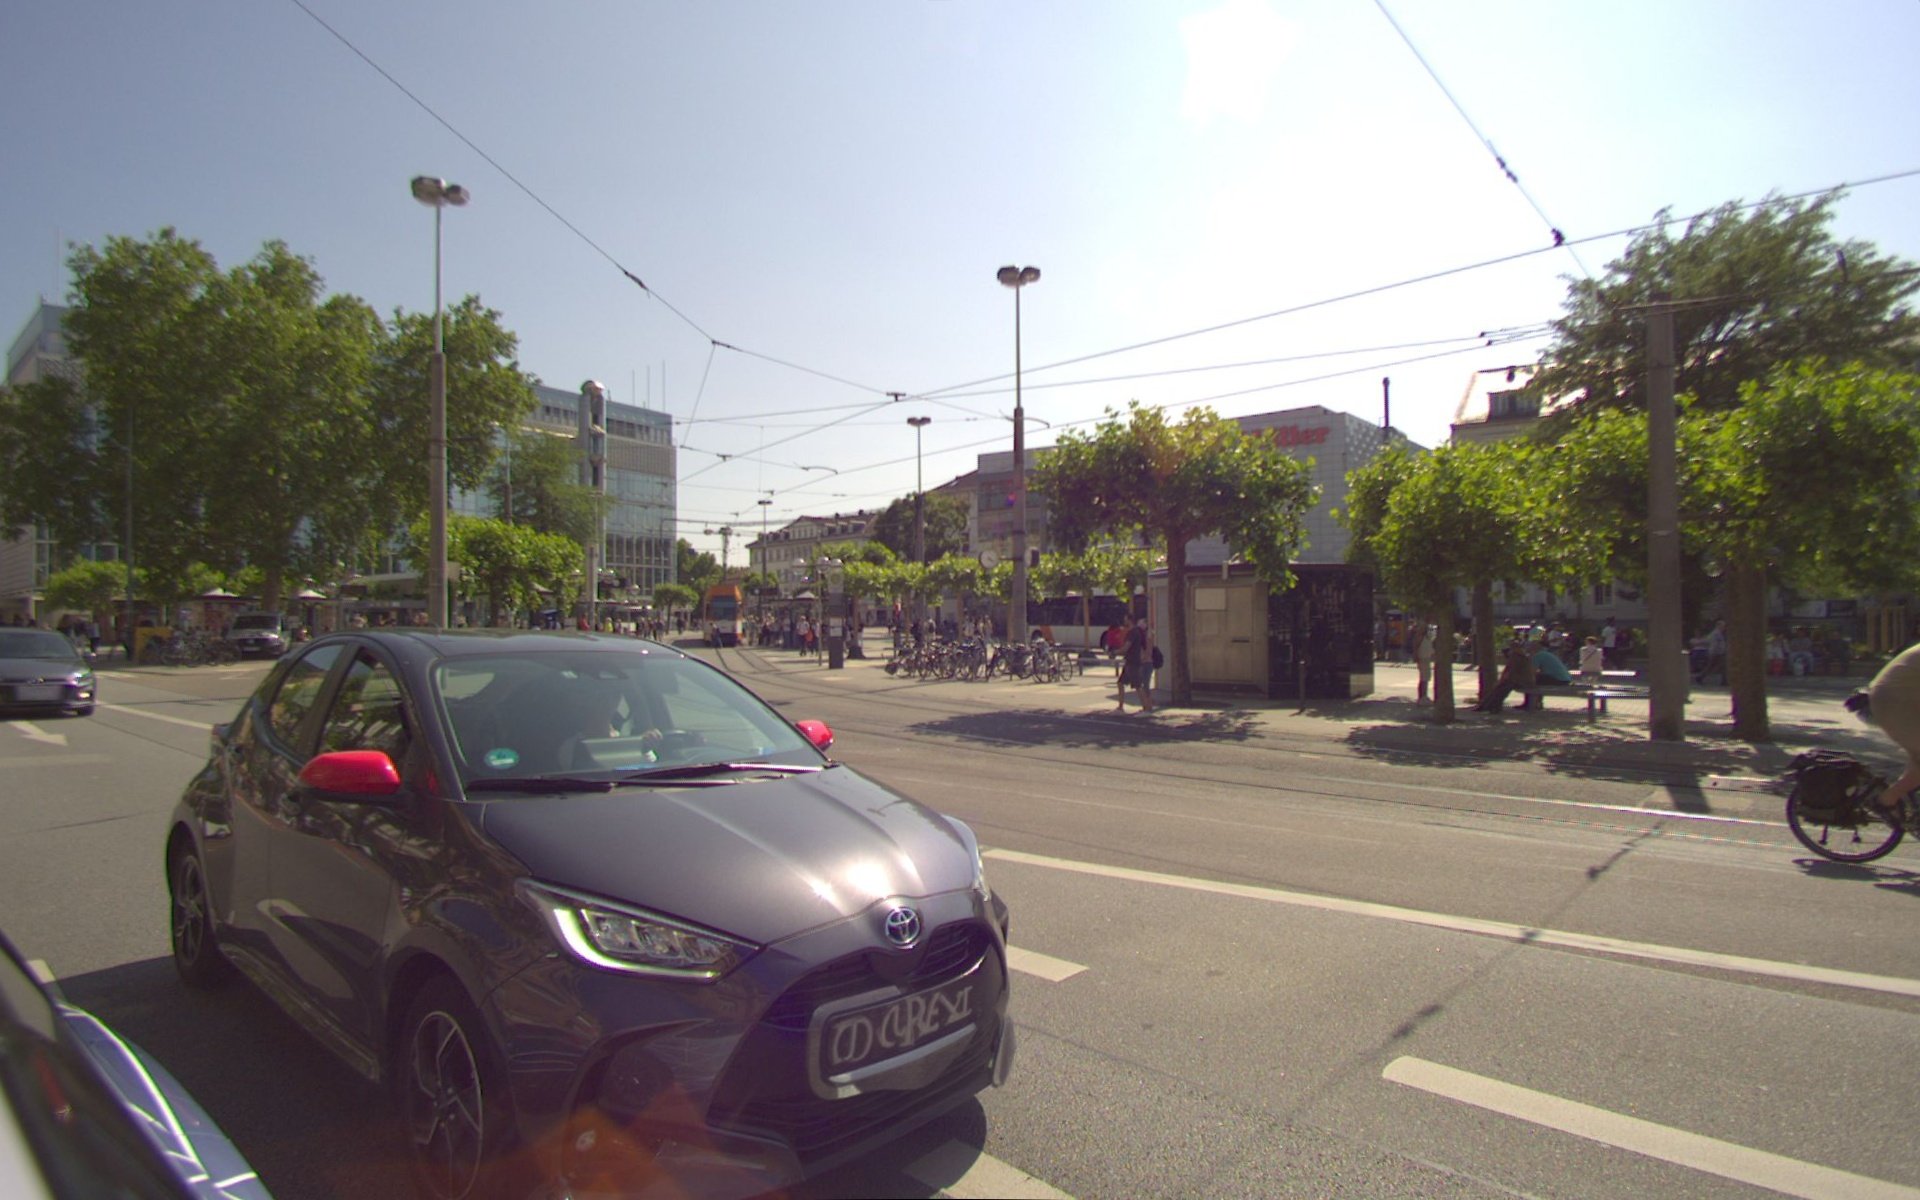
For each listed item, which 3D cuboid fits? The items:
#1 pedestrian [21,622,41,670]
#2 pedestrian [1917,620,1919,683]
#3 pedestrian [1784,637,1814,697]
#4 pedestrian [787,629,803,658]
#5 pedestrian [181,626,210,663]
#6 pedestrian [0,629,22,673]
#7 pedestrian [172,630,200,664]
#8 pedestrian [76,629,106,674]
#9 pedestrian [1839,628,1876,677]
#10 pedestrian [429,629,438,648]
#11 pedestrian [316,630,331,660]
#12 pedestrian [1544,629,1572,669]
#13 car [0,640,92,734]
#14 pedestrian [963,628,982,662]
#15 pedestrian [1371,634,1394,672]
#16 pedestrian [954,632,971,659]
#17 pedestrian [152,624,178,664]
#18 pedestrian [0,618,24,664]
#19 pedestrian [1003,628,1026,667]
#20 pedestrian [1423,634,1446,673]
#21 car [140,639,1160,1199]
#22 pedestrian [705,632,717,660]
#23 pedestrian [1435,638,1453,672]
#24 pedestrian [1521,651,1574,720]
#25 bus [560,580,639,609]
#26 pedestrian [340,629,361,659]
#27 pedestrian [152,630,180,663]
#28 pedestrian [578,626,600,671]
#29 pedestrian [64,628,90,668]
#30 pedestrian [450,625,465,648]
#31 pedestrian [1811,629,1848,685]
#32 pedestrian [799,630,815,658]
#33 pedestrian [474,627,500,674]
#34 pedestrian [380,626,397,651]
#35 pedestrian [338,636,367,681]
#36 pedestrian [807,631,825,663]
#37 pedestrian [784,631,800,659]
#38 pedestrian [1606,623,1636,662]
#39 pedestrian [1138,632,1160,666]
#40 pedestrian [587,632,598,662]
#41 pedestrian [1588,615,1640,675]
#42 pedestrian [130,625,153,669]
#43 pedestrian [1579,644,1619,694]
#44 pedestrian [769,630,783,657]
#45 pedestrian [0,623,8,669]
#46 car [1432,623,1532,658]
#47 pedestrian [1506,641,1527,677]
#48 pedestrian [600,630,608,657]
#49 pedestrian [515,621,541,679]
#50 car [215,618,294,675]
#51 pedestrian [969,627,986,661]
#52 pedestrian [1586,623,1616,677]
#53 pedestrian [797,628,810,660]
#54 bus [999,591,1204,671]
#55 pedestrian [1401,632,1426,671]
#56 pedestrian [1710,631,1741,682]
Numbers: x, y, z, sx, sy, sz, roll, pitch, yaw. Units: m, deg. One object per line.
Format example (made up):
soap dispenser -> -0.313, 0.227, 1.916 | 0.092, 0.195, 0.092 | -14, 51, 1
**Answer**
pedestrian -> -36.654, 1.809, 39.941 | 0.510, 1.849, 0.716 | -2, 0, -42
pedestrian -> 26.794, 1.416, 27.708 | 0.627, 1.762, 0.542 | -1, -3, 19
pedestrian -> 24.570, 1.949, 29.636 | 0.618, 1.742, 0.733 | -2, -4, 39
pedestrian -> -8.936, 2.372, 54.879 | 0.674, 1.561, 0.575 | -1, -4, 17
pedestrian -> -33.622, 1.954, 44.499 | 0.780, 1.608, 0.744 | -1, 0, 30
pedestrian -> -36.801, 1.968, 39.052 | 0.620, 1.661, 0.754 | -2, 0, -24
pedestrian -> -34.304, 2.074, 44.858 | 0.671, 1.435, 0.744 | -1, 0, 30
pedestrian -> -33.243, 1.960, 38.724 | 0.639, 1.704, 0.637 | -2, 0, 27
pedestrian -> 26.025, 1.509, 29.355 | 0.616, 1.396, 0.735 | -1, -3, 28
pedestrian -> -41.300, 3.028, 79.358 | 0.410, 1.483, 0.459 | -1, 0, 38
pedestrian -> -37.266, 2.628, 59.280 | 0.629, 1.706, 0.754 | -2, 0, -27
pedestrian -> 19.239, 1.577, 32.557 | 0.613, 1.273, 0.583 | 3, -5, -40
car -> -16.158, 1.410, 17.124 | 3.999, 1.415, 1.677 | -1, -4, 42
pedestrian -> 0.545, 2.016, 45.094 | 0.621, 1.477, 0.675 | -1, -4, 25
pedestrian -> 16.764, 2.101, 40.155 | 0.679, 1.477, 0.617 | -2, -4, 36
pedestrian -> 0.144, 2.695, 59.572 | 0.840, 1.561, 0.677 | 0, -4, 14
pedestrian -> -36.598, 2.020, 46.594 | 0.739, 1.760, 0.785 | -2, 0, -23
pedestrian -> -38.742, 1.676, 41.352 | 0.738, 1.860, 0.587 | -1, -2, 39
pedestrian -> 2.114, 1.840, 39.238 | 0.670, 1.477, 0.625 | 4, -5, -43
pedestrian -> 18.564, 2.099, 39.577 | 0.679, 1.477, 0.617 | -2, -4, 36
car -> -1.464, 0.906, 3.719 | 3.999, 1.486, 1.758 | -1, -2, 42
pedestrian -> -13.952, 2.606, 56.797 | 0.448, 1.561, 0.474 | 0, -4, 14
pedestrian -> 18.325, 2.070, 38.295 | 0.453, 1.273, 0.511 | -3, -5, 45
pedestrian -> 10.473, 1.508, 18.035 | 0.751, 1.180, 0.669 | -2, -4, 34
bus -> -37.734, -0.627, 106.528 | 2.362, 2.811, 12.153 | -2, 0, 8
pedestrian -> -36.443, 2.623, 60.497 | 0.780, 1.760, 0.744 | -1, 0, 30
pedestrian -> -35.237, 2.074, 44.910 | 0.780, 1.418, 0.744 | -1, 0, 30
pedestrian -> -15.248, 2.008, 41.591 | 0.605, 1.830, 0.570 | -3, -5, 40
pedestrian -> -39.860, 2.154, 45.694 | 0.666, 1.760, 0.742 | -1, 0, 39
pedestrian -> -38.957, 2.843, 78.453 | 0.780, 1.760, 0.744 | -1, 0, 30
pedestrian -> 25.490, 1.666, 29.676 | 0.616, 1.611, 0.735 | -1, -3, 28
pedestrian -> -8.467, 2.447, 55.964 | 0.674, 1.561, 0.575 | -1, -4, 17
pedestrian -> -18.523, 1.991, 39.637 | 0.671, 1.808, 0.625 | 1, -4, -1
pedestrian -> -41.149, 2.754, 72.891 | 0.780, 1.760, 0.744 | -1, 0, 30
pedestrian -> -21.112, 2.028, 35.180 | 0.680, 1.536, 0.616 | -3, -5, 41
pedestrian -> -7.108, 2.326, 50.035 | 0.675, 1.610, 0.621 | -1, -4, 18
pedestrian -> -9.253, 2.472, 55.769 | 0.674, 1.561, 0.575 | -1, -4, 17
pedestrian -> 21.596, 1.401, 33.070 | 0.572, 1.273, 0.624 | 3, -4, -35
pedestrian -> 8.198, 2.123, 43.906 | 0.680, 1.477, 0.616 | -3, -5, 43
pedestrian -> -19.791, 2.526, 54.462 | 0.467, 1.561, 0.493 | 2, -4, -25
pedestrian -> 20.063, 1.391, 31.042 | 0.953, 1.807, 1.082 | 3, -5, -40
pedestrian -> -32.965, 1.893, 40.776 | 0.516, 1.755, 0.511 | -2, 0, 27
pedestrian -> 13.366, 1.443, 21.180 | 0.580, 1.008, 0.627 | -3, -5, 43
pedestrian -> -10.686, 2.516, 58.794 | 0.573, 1.561, 0.677 | 0, -4, 14
pedestrian -> -38.328, 1.837, 40.123 | 0.529, 1.796, 0.745 | -2, 0, -15
car -> 24.426, 1.878, 47.407 | 3.990, 1.519, 1.740 | -1, 0, 35
pedestrian -> 19.808, 2.105, 36.018 | 0.510, 1.273, 0.454 | 3, -4, -37
pedestrian -> -20.862, 2.549, 59.268 | 0.379, 1.561, 0.413 | 2, -4, -25
pedestrian -> -15.477, 1.781, 36.267 | 0.563, 2.023, 0.686 | -1, -1, 31
car -> -28.400, 1.811, 40.882 | 1.966, 2.029, 5.083 | -2, 0, -28
pedestrian -> 0.765, 1.913, 44.209 | 0.585, 1.477, 0.522 | -1, -4, 21
pedestrian -> 21.391, 1.670, 33.793 | 0.572, 1.792, 0.624 | 3, -4, -35
pedestrian -> -8.417, 2.375, 54.295 | 0.462, 1.731, 0.555 | -1, -4, 18
bus -> 6.673, 1.415, 51.013 | 3.014, 3.445, 12.497 | -2, 0, -30
pedestrian -> 17.377, 1.983, 38.804 | 0.616, 1.477, 0.681 | 4, -5, -45
pedestrian -> 19.525, 1.435, 25.819 | 0.479, 1.273, 0.400 | -1, -4, 22
